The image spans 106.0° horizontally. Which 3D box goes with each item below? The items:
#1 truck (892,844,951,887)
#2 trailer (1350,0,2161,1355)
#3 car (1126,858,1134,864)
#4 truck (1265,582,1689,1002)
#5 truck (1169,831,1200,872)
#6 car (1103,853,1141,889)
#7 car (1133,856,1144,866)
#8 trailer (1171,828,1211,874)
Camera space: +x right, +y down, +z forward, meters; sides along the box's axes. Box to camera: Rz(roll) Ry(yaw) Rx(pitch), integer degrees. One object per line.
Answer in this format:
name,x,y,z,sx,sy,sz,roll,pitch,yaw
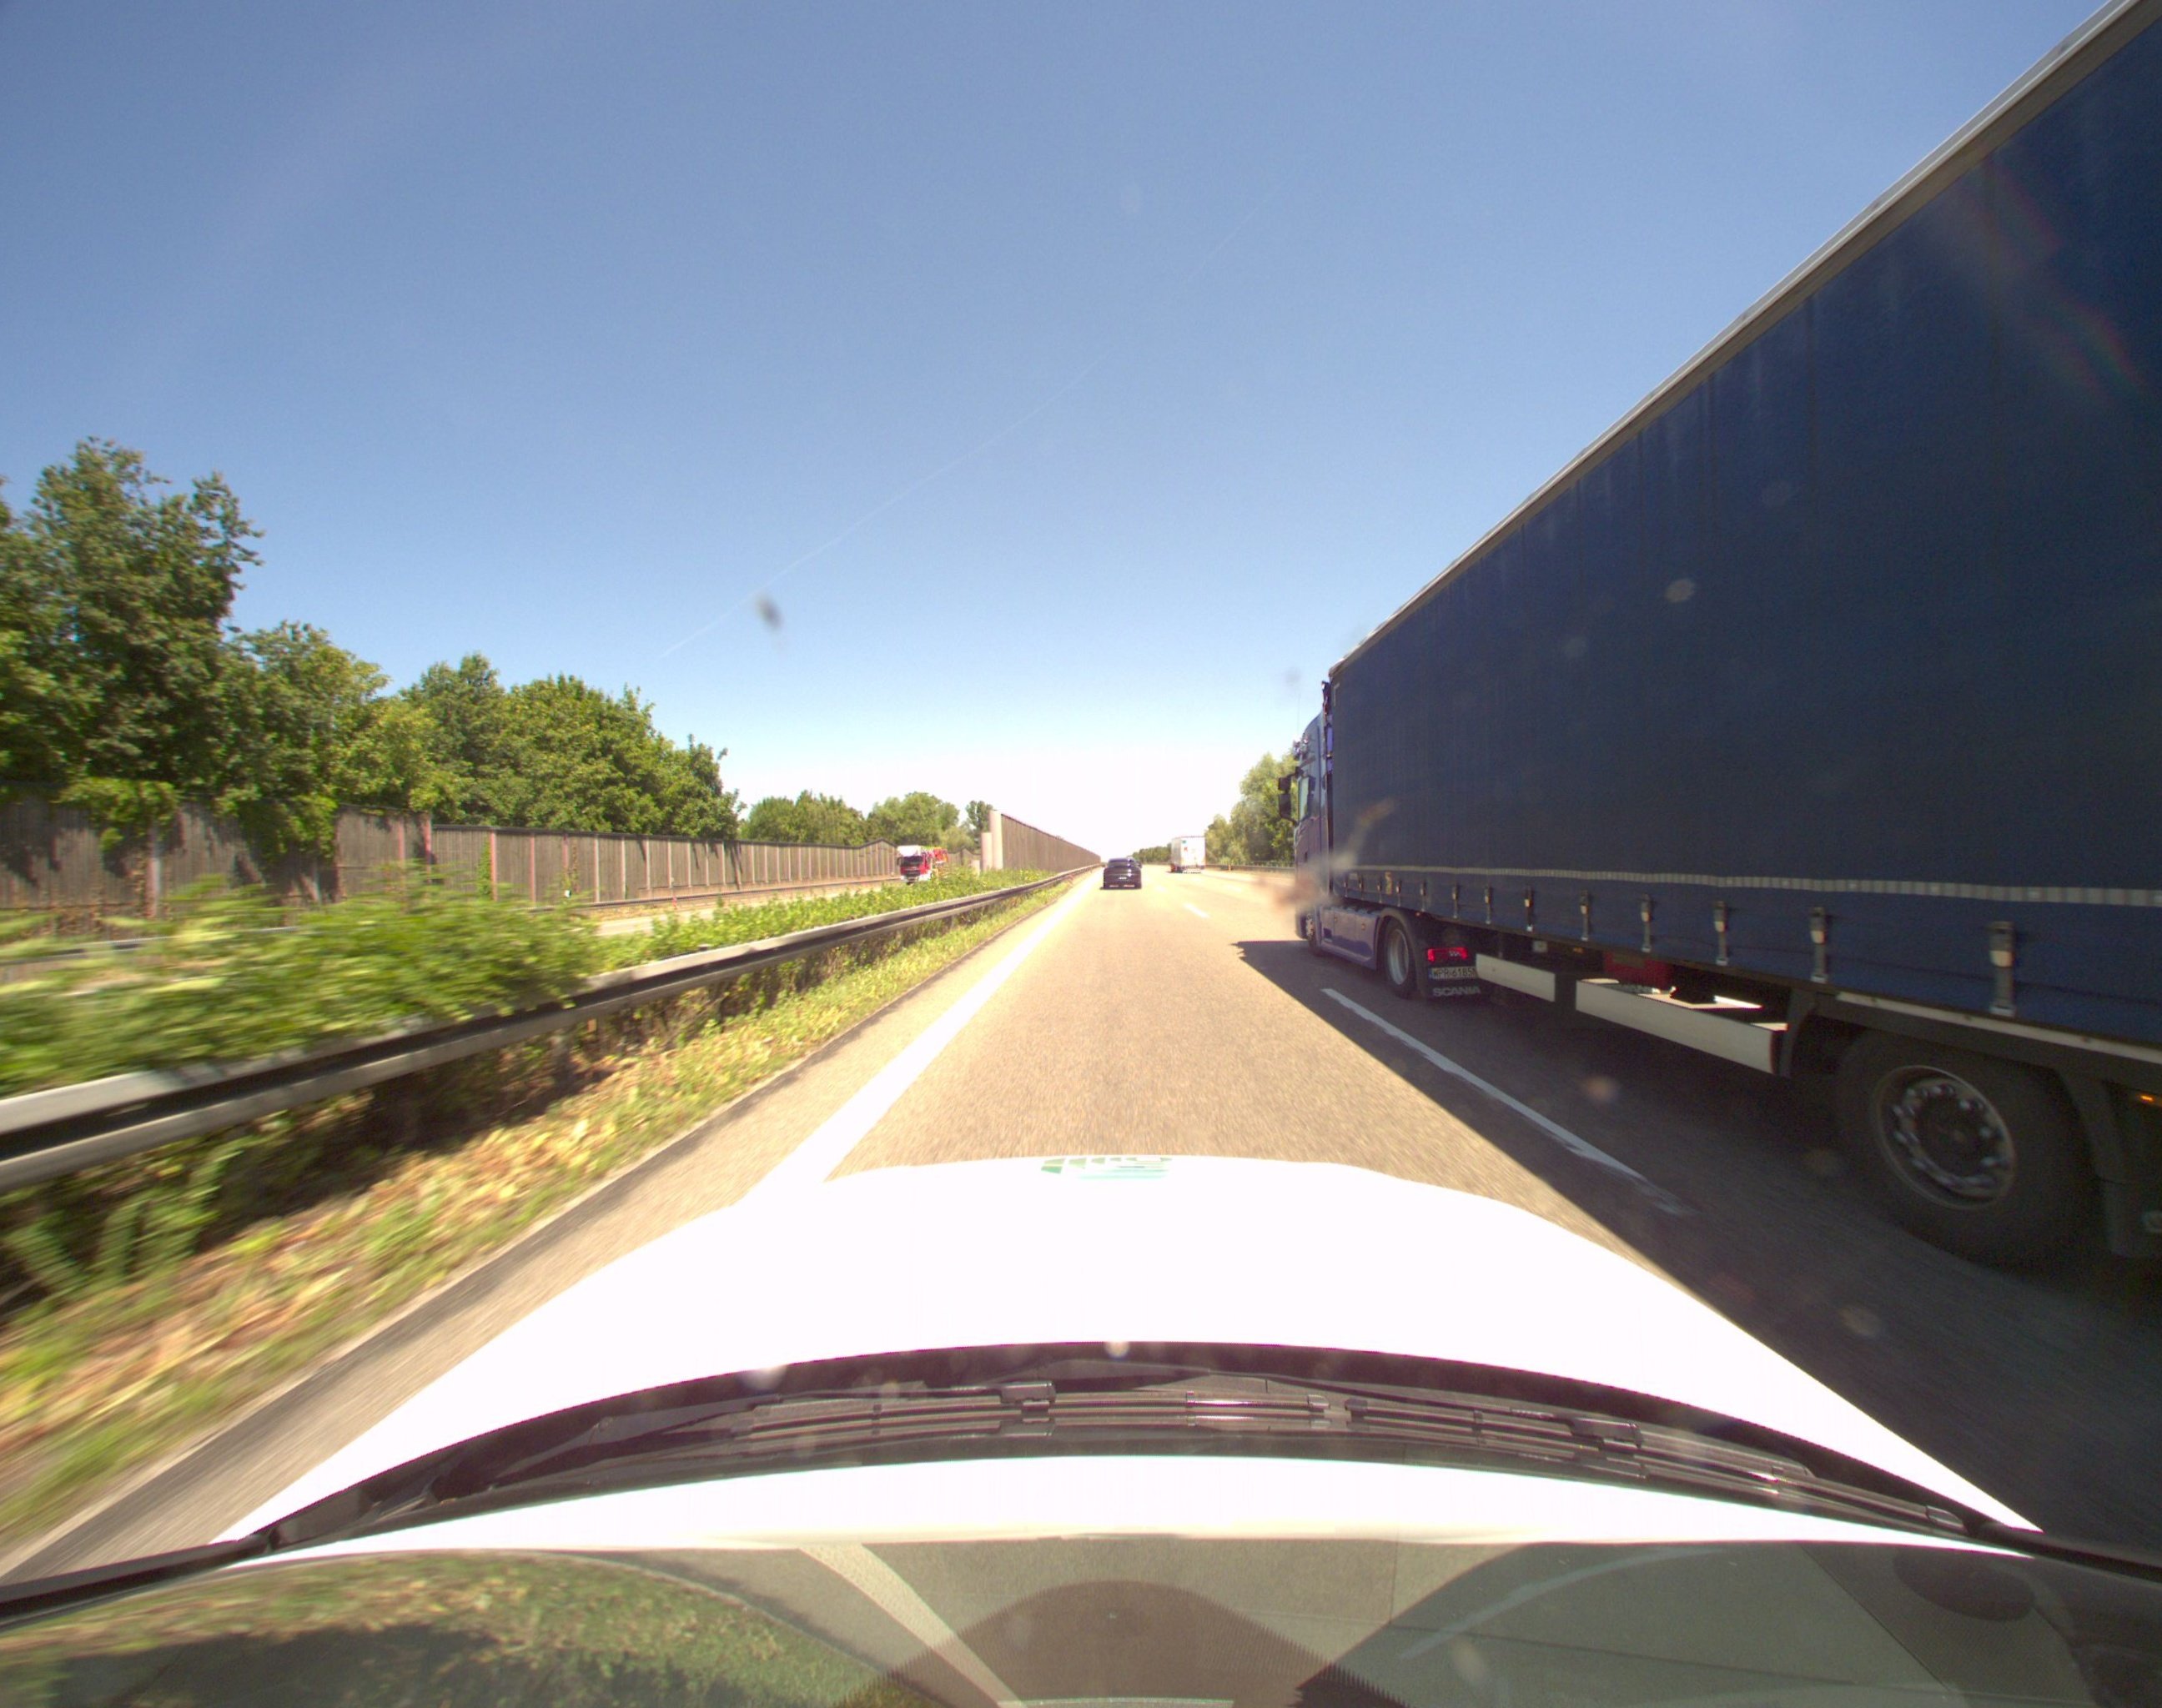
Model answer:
truck,-14.074,0.989,72.827,2.689,3.492,10.860,-1,-1,3
trailer,4.442,-0.642,3.867,2.690,4.118,12.137,-1,-1,2
car,12.303,1.755,202.944,1.895,1.584,4.306,-2,-2,2
truck,4.683,-0.583,11.526,2.690,4.118,6.992,-1,-1,1
truck,12.754,-0.255,100.748,3.221,4.889,6.976,-1,-1,3
car,2.115,0.853,43.169,1.873,1.792,4.000,-1,0,1
car,10.668,1.296,150.383,1.895,1.584,4.306,-2,-2,2
trailer,12.440,-0.303,93.166,3.256,4.838,14.037,-1,-1,3
